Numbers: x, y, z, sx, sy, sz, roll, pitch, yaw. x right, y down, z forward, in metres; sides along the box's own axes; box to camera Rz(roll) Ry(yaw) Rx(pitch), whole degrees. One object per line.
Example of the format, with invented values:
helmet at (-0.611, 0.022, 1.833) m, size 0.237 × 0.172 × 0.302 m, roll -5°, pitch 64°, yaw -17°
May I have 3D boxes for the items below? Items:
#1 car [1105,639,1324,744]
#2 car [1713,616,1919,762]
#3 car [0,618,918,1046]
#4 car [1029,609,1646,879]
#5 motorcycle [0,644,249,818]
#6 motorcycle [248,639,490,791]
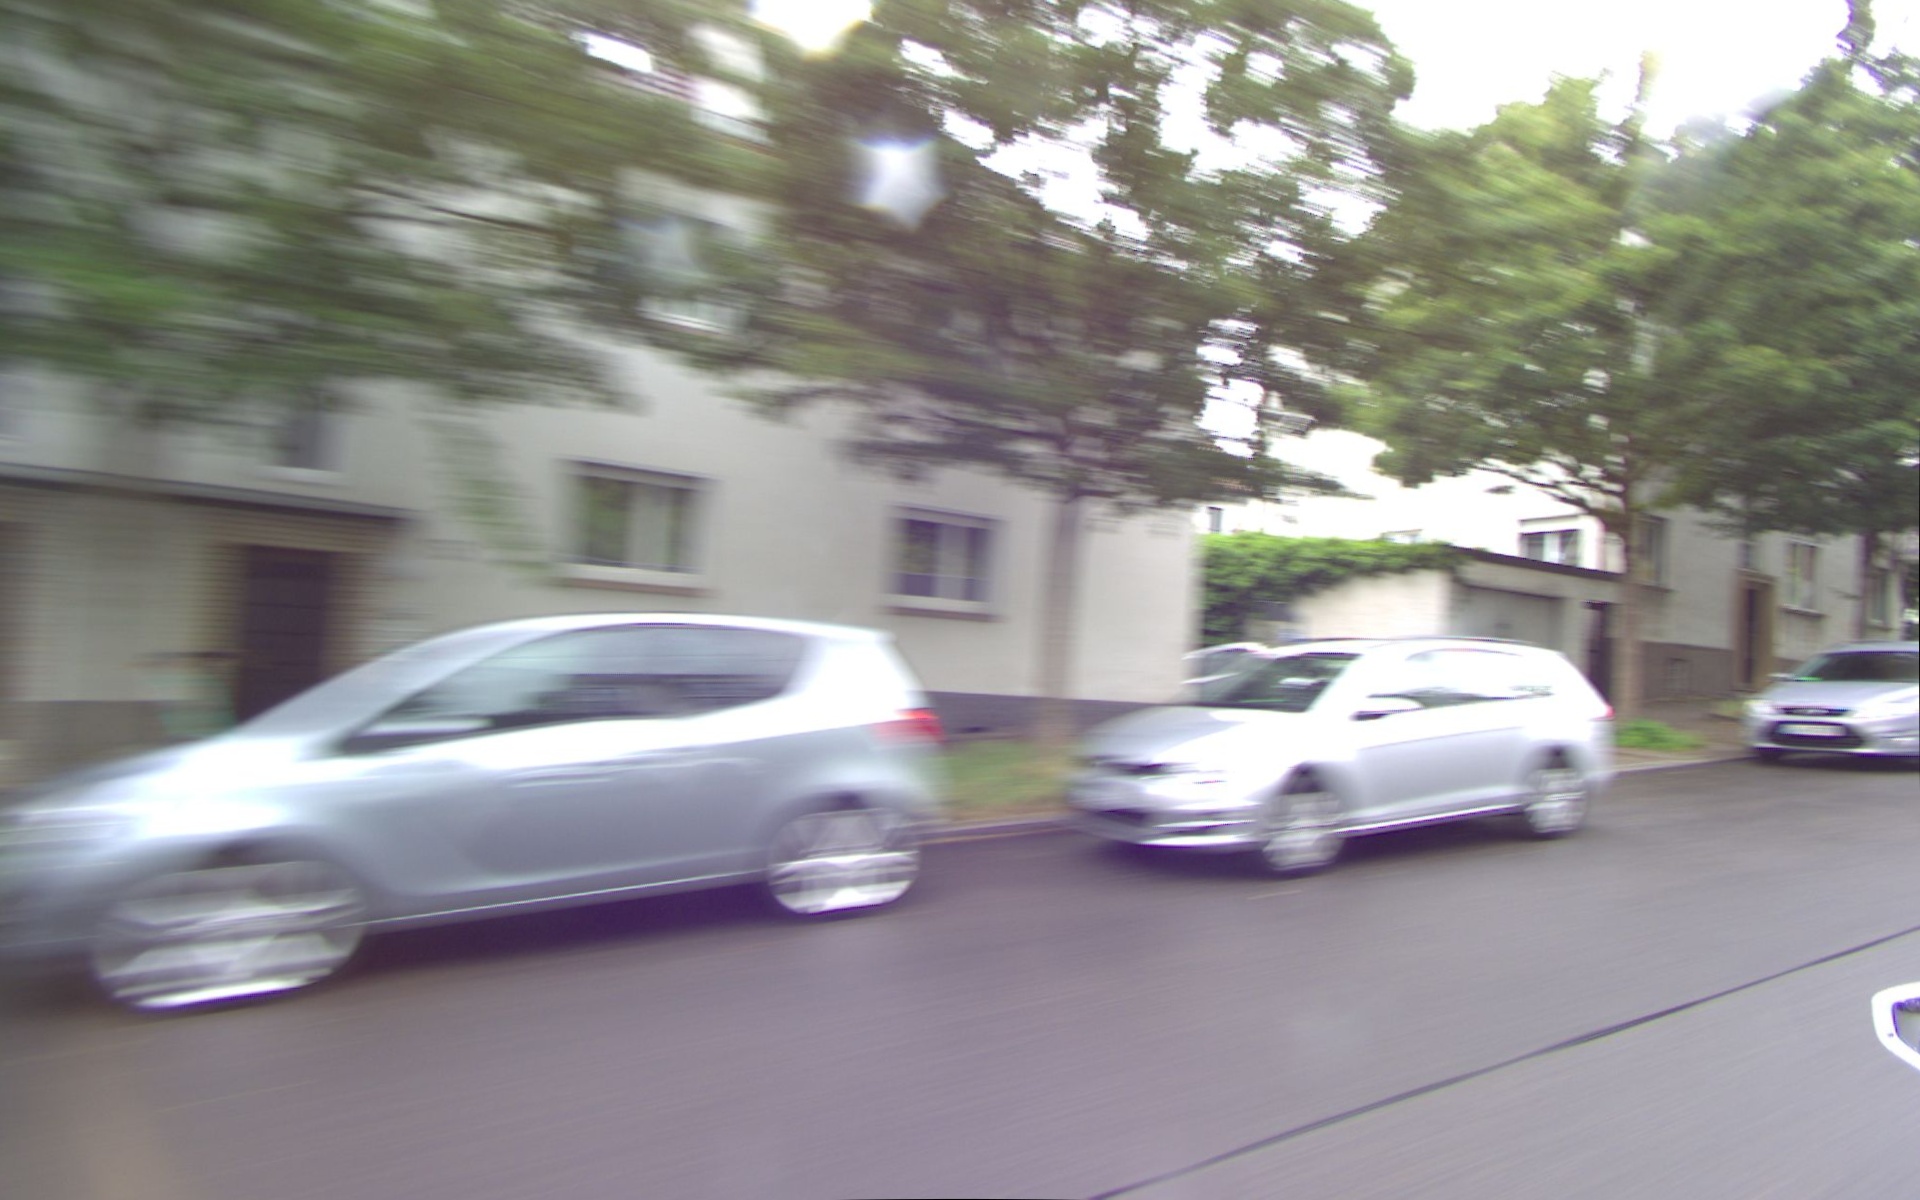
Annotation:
car at (4.690, 1.785, 19.014) m, size 1.779 × 1.561 × 3.676 m, roll 1°, pitch -11°, yaw -34°
car at (11.848, 1.147, 12.752) m, size 4.740 × 1.571 × 1.798 m, roll 3°, pitch -6°, yaw -28°
car at (-2.489, 0.927, 5.107) m, size 4.186 × 1.505 × 1.797 m, roll 3°, pitch -3°, yaw -30°
car at (2.935, 0.932, 7.559) m, size 4.541 × 1.472 × 1.797 m, roll 3°, pitch 0°, yaw -29°
motorcycle at (-6.029, 0.887, 7.086) m, size 1.603 × 1.135 × 0.427 m, roll 1°, pitch -1°, yaw -33°
motorcycle at (-4.656, 0.871, 7.996) m, size 1.603 × 1.113 × 0.408 m, roll 1°, pitch -1°, yaw -33°
